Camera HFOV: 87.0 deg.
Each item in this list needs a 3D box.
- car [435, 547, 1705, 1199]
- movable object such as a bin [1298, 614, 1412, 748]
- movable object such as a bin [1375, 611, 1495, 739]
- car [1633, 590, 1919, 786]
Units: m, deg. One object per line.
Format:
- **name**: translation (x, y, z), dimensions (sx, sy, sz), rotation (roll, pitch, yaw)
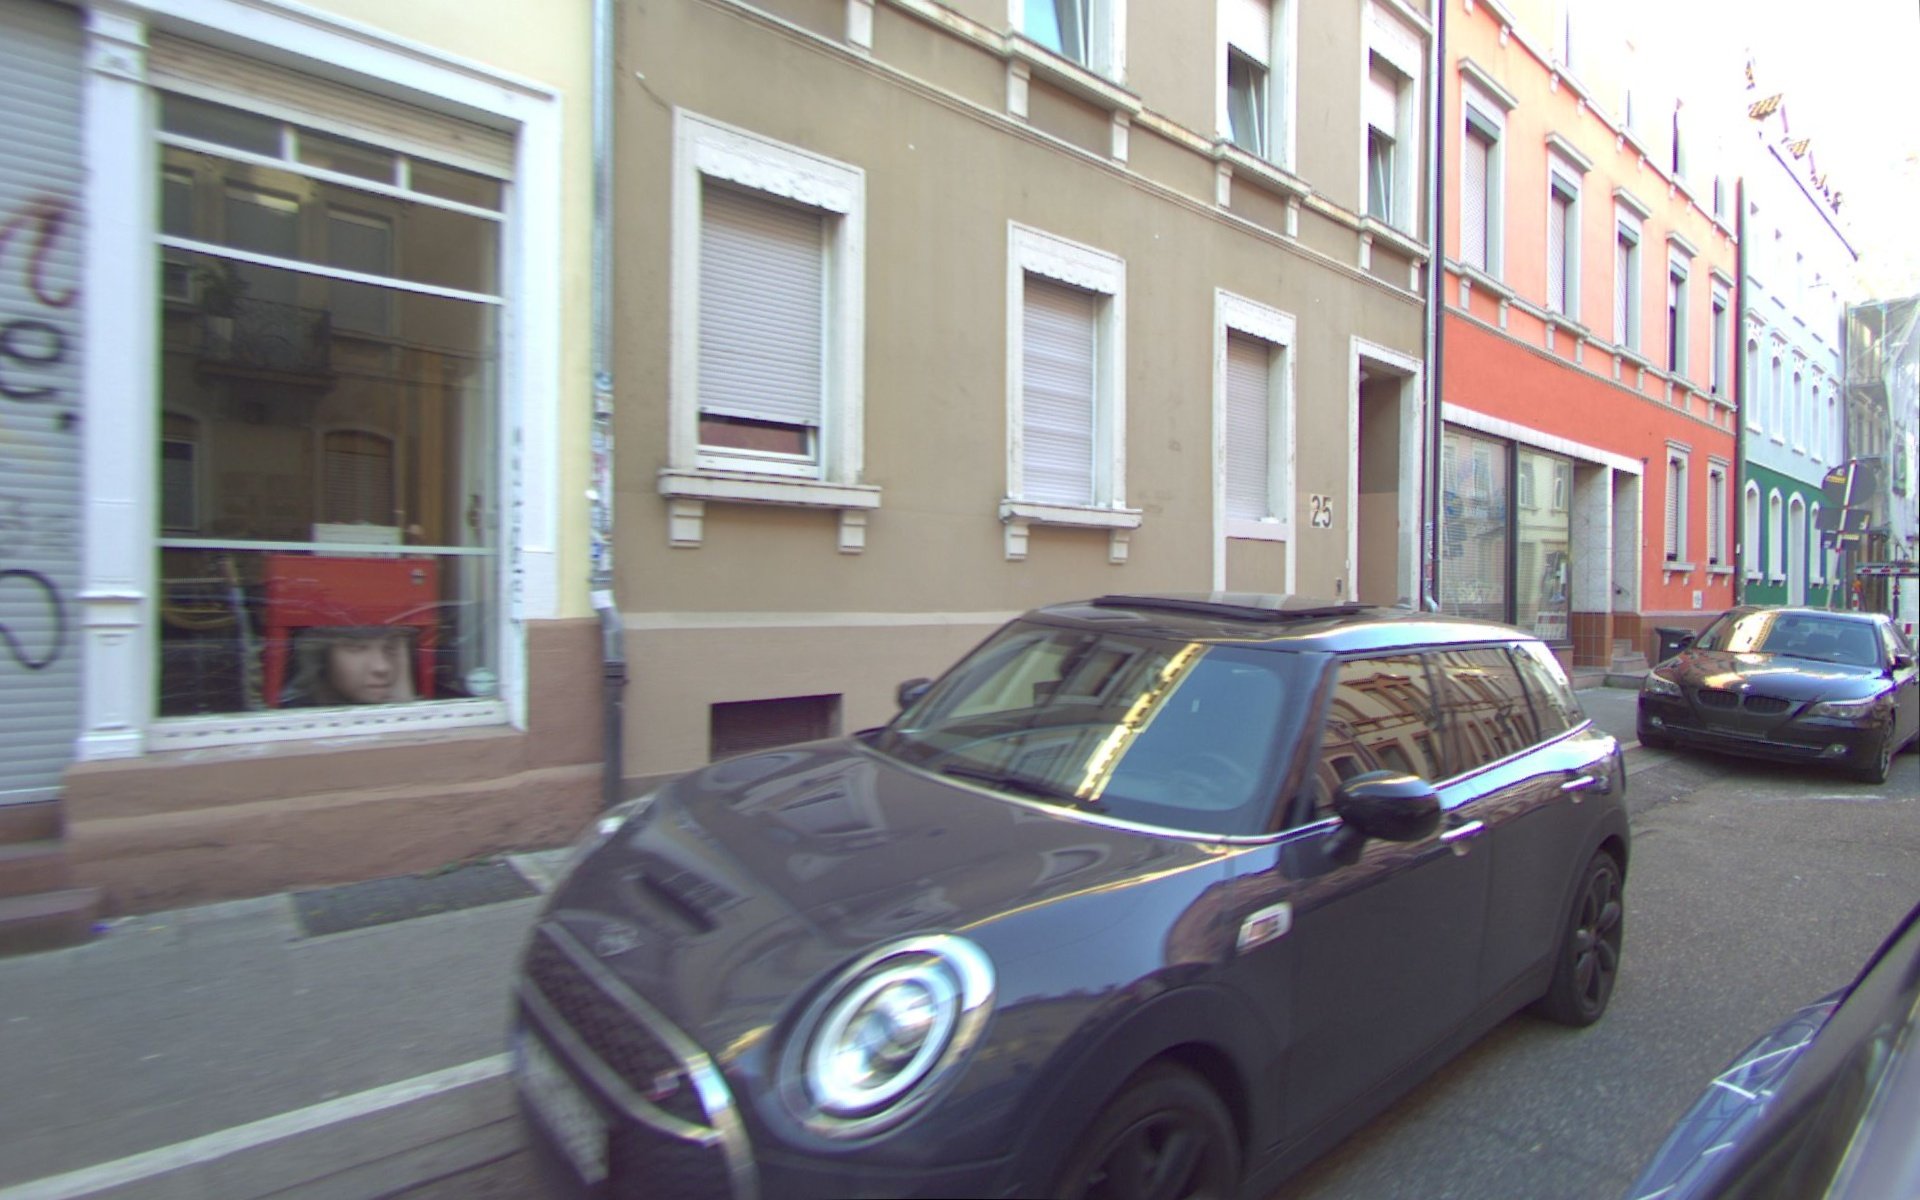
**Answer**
- **car**: translation (0.827, 0.696, 3.374), dimensions (4.303, 1.541, 1.764), rotation (0, 0, -41)
- **movable object such as a bin**: translation (3.614, 0.709, 9.270), dimensions (0.630, 1.122, 0.717), rotation (1, 2, -40)
- **movable object such as a bin**: translation (4.616, 0.696, 9.850), dimensions (0.889, 1.122, 0.633), rotation (3, 2, 40)
- **car**: translation (8.469, 0.680, 10.076), dimensions (4.386, 1.501, 1.830), rotation (0, 1, -41)
